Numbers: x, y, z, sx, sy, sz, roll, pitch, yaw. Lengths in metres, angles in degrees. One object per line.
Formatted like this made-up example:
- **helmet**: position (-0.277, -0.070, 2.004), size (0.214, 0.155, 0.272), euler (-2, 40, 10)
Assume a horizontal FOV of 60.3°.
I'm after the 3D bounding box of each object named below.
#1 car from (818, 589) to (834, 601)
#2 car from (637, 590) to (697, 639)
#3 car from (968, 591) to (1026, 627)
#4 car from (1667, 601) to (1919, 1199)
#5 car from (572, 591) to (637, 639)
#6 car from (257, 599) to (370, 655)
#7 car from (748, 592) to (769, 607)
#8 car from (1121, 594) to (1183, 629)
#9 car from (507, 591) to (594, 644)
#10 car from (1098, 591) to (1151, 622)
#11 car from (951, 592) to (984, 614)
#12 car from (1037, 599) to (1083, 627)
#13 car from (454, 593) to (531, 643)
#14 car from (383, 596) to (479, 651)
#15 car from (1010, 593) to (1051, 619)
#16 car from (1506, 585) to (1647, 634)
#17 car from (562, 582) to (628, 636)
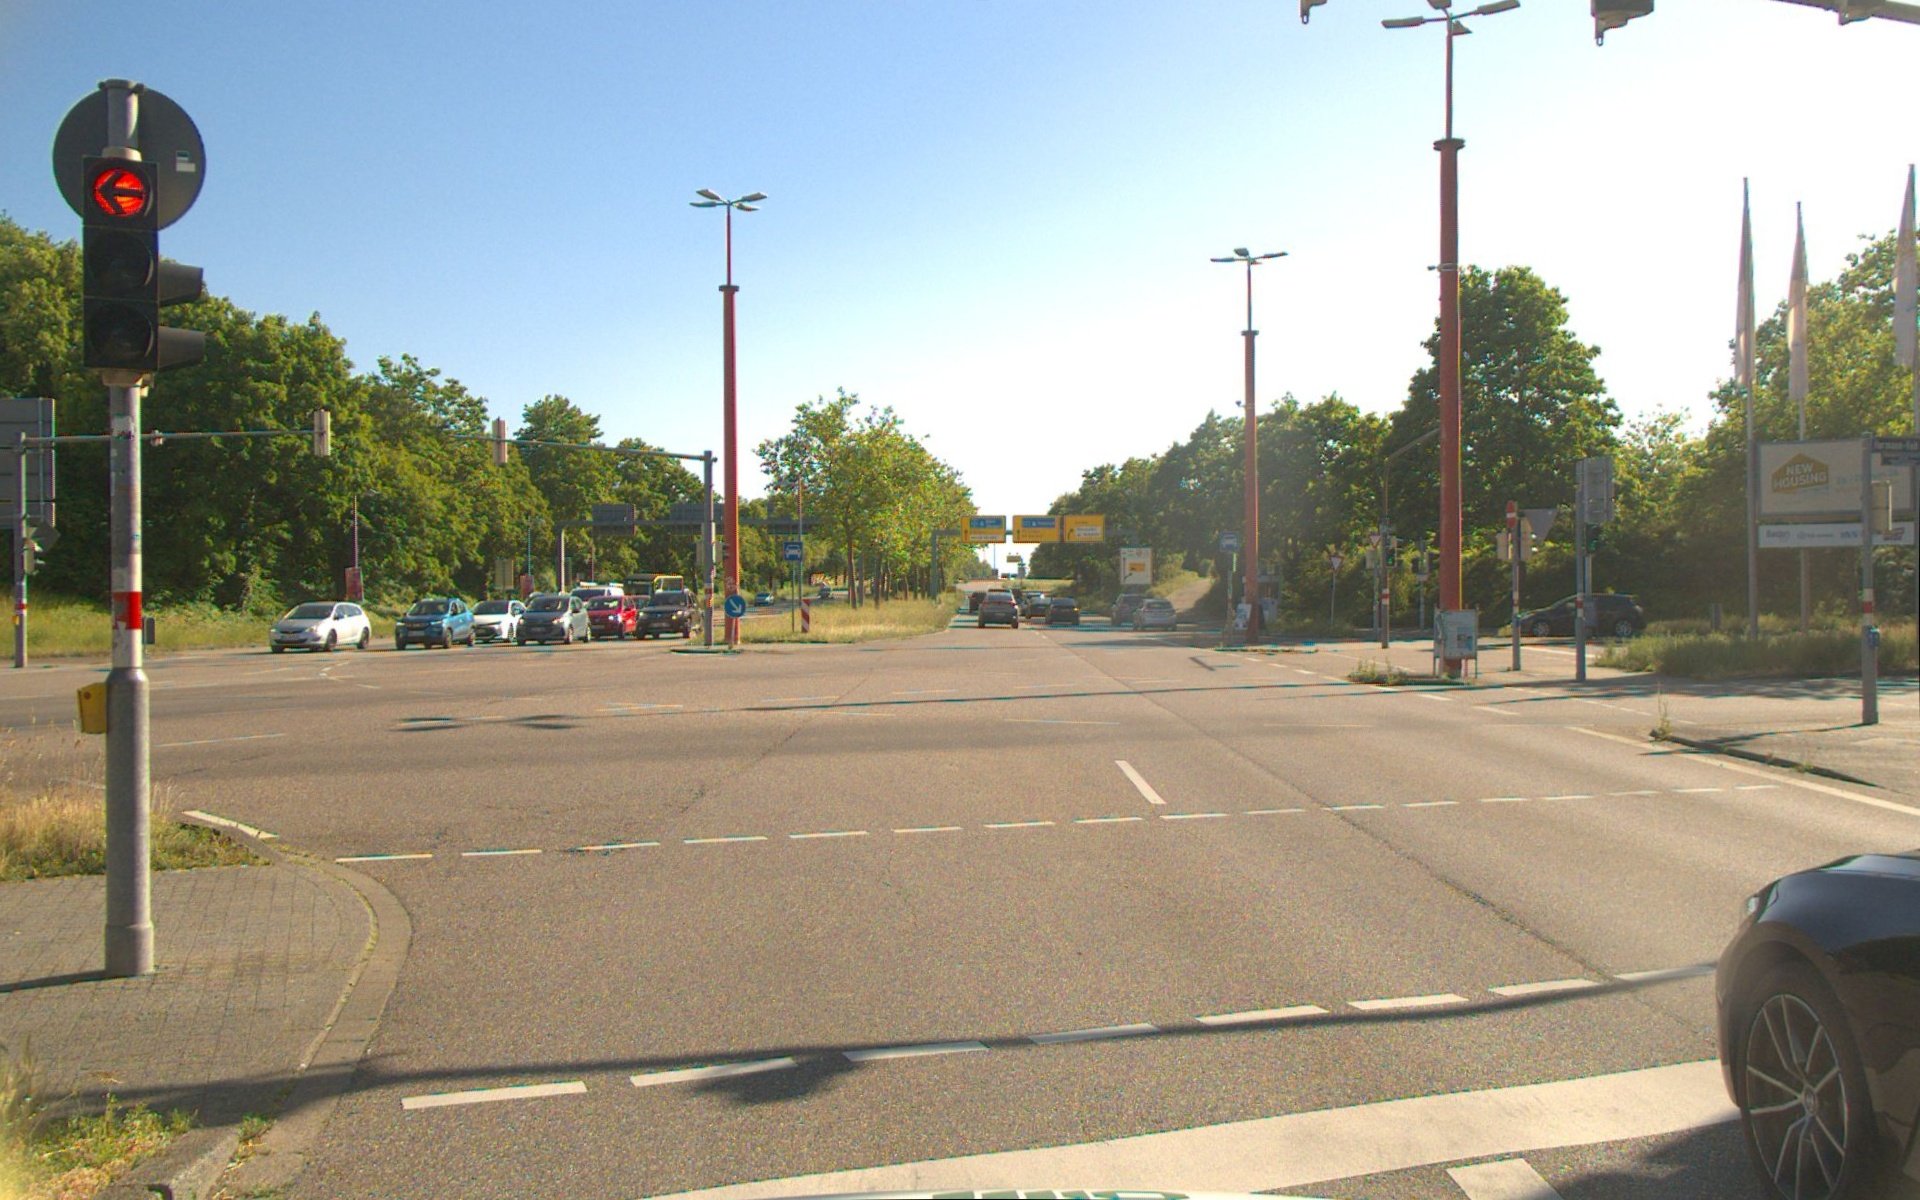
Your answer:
- **car**: position (-17.327, -0.669, 213.674), size (1.954, 1.601, 4.118), euler (0, 0, -3)
- **car**: position (-9.878, 0.471, 55.982), size (1.841, 1.601, 4.113), euler (0, 0, -8)
- **car**: position (1.693, 0.410, 76.360), size (2.202, 1.601, 4.276), euler (0, 0, -5)
- **car**: position (2.967, 0.715, 2.352), size (1.953, 1.419, 4.476), euler (0, 0, -1)
- **car**: position (-12.483, 0.506, 58.263), size (1.956, 1.601, 4.113), euler (0, 0, -8)
- **car**: position (-19.591, 0.784, 50.289), size (1.954, 1.601, 4.118), euler (0, 0, -3)
- **car**: position (-21.653, -0.089, 177.964), size (1.954, 1.601, 4.117), euler (0, 0, -4)
- **car**: position (8.971, 0.507, 77.605), size (2.116, 1.601, 4.277), euler (0, 0, -4)
- **car**: position (-12.809, 0.520, 51.956), size (1.954, 1.601, 4.118), euler (0, 0, -4)
- **car**: position (8.843, 0.333, 89.257), size (2.116, 1.601, 4.277), euler (0, 0, -4)
- **car**: position (0.537, 0.248, 124.241), size (2.116, 1.601, 4.277), euler (0, 0, -4)
- **car**: position (5.311, 0.681, 88.612), size (1.915, 1.467, 4.277), euler (0, 0, -4)
- **car**: position (-15.995, 0.595, 56.776), size (1.956, 1.601, 4.113), euler (-1, 0, -8)
- **car**: position (-16.213, 0.681, 50.882), size (1.955, 1.601, 4.116), euler (0, 0, -5)
- **car**: position (4.430, 0.356, 105.107), size (2.116, 1.601, 4.277), euler (0, 0, -4)
- **car**: position (20.924, 0.320, 56.307), size (4.175, 1.601, 2.168), euler (0, 0, 10)
- **car**: position (-15.676, 0.384, 71.256), size (2.021, 2.231, 4.376), euler (0, 0, -3)
